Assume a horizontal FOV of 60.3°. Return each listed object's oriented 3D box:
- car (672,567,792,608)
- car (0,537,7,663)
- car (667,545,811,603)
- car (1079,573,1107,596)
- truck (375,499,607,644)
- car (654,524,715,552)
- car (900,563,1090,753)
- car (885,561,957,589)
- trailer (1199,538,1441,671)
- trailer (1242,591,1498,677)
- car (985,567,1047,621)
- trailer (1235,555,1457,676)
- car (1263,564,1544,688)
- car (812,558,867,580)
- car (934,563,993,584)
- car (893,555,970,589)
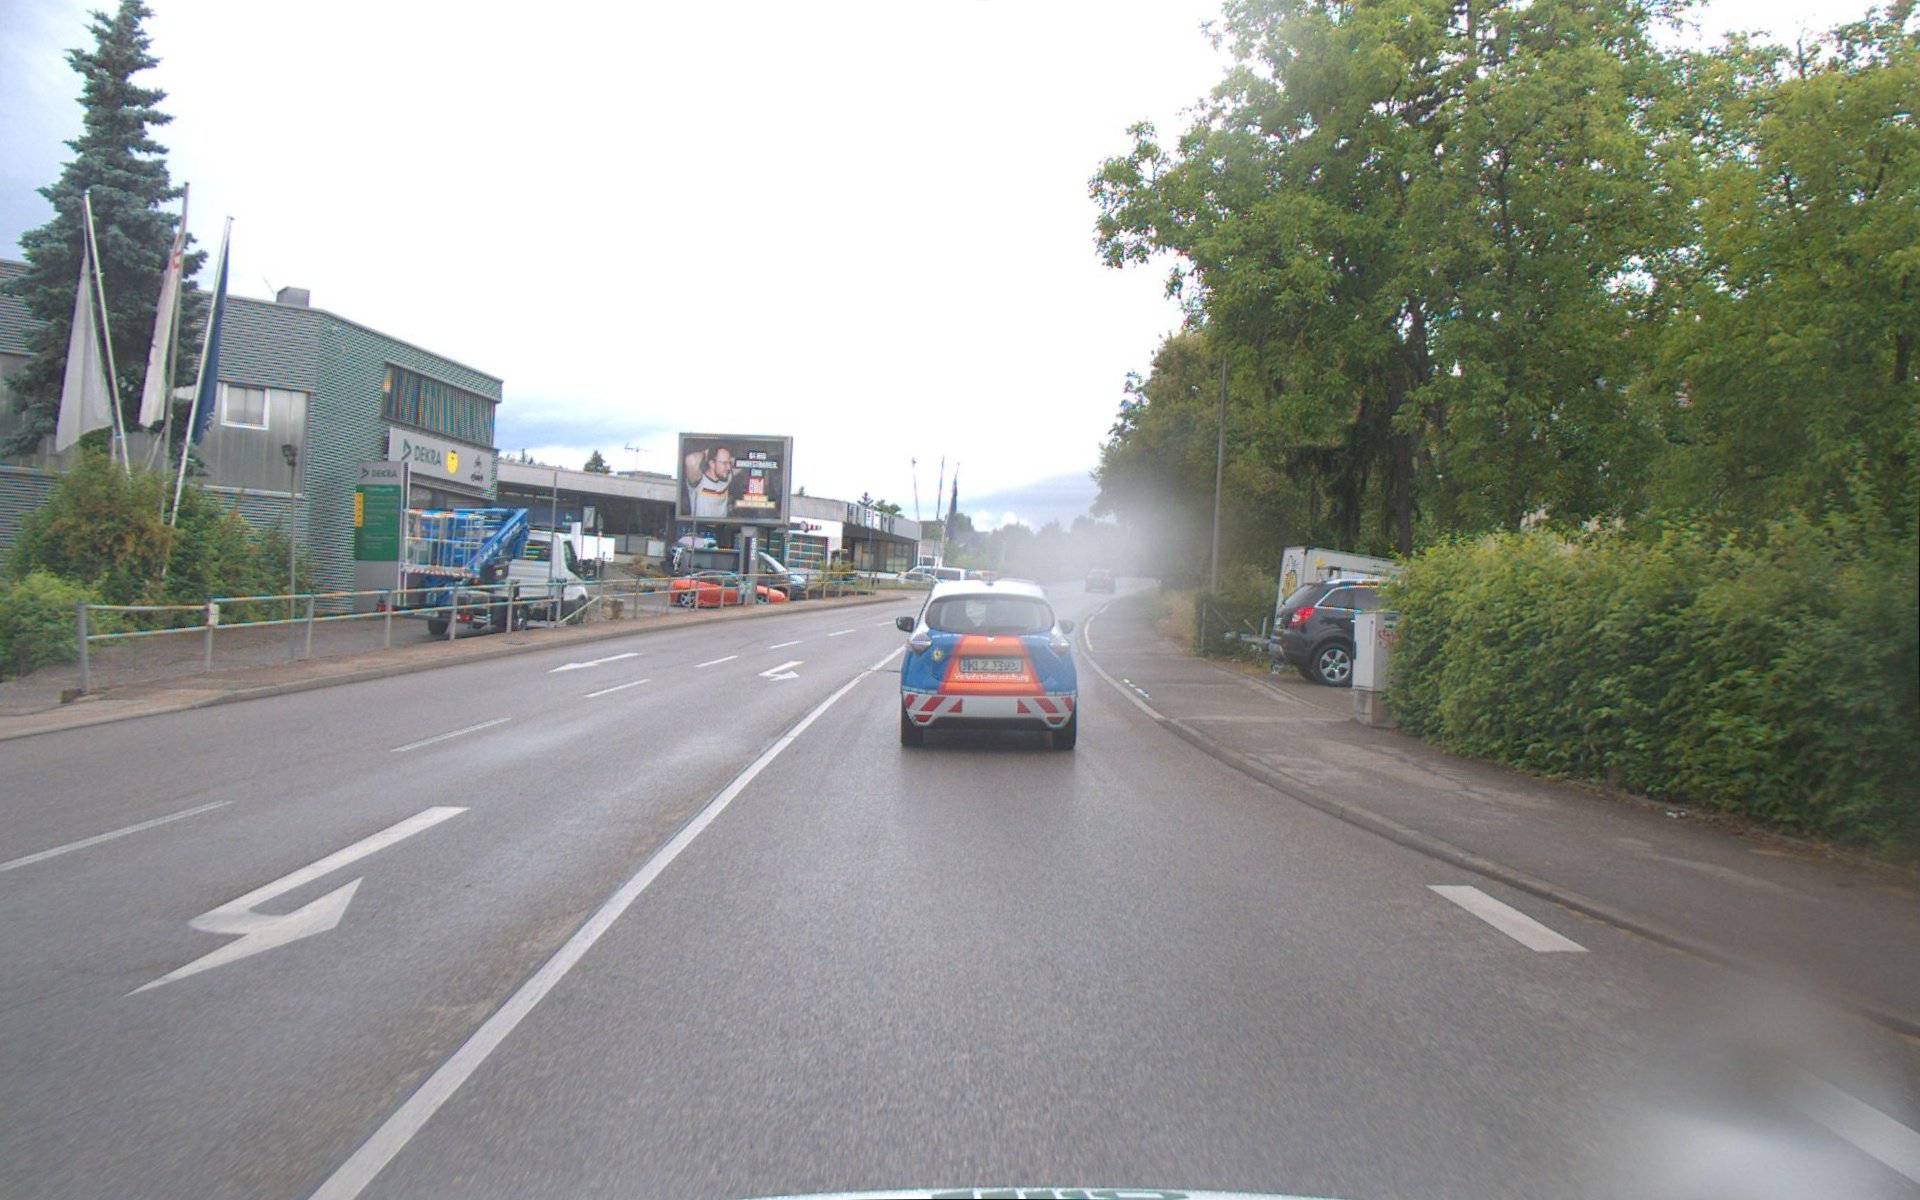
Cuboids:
[{"bbox_3d":[-7.934,-0.448,57.781,4.011,1.289,1.769,2,1,-4],"label":"car"},{"bbox_3d":[-14.703,0.040,22.987,2.030,1.903,4.251,2,1,-24],"label":"car"},{"bbox_3d":[-8.077,-0.951,60.730,4.963,1.903,1.823,2,1,0],"label":"car"},{"bbox_3d":[8.511,-1.003,105.603,1.580,1.431,3.500,2,1,7],"label":"car"},{"bbox_3d":[-9.703,-0.693,35.167,1.951,2.678,7.899,2,2,6],"label":"truck"},{"bbox_3d":[-15.838,-3.554,95.202,1.780,1.504,4.024,3,2,18],"label":"car"},{"bbox_3d":[0.254,0.504,16.688,1.624,1.620,3.567,3,0,-2],"label":"car"},{"bbox_3d":[-2.297,-1.473,96.884,3.924,1.504,1.825,2,2,8],"label":"car"},{"bbox_3d":[7.491,0.071,34.628,4.448,2.442,1.947,3,1,-7],"label":"trailer"},{"bbox_3d":[7.533,0.610,30.644,4.307,1.310,1.572,3,2,0],"label":"trailer"},{"bbox_3d":[1.837,-0.194,52.970,1.764,1.617,3.565,2,1,5],"label":"car"},{"bbox_3d":[7.549,0.282,32.617,3.872,2.056,1.687,4,1,0],"label":"trailer"},{"bbox_3d":[7.295,0.393,27.557,4.125,1.780,1.985,3,2,2],"label":"car"},{"bbox_3d":[-9.046,-2.313,123.588,3.953,1.440,1.941,4,2,43],"label":"car"},{"bbox_3d":[0.247,-1.913,117.811,3.977,1.313,1.806,2,2,6],"label":"car"},{"bbox_3d":[-1.671,-1.707,99.327,4.319,1.829,1.936,2,2,8],"label":"car"}]
